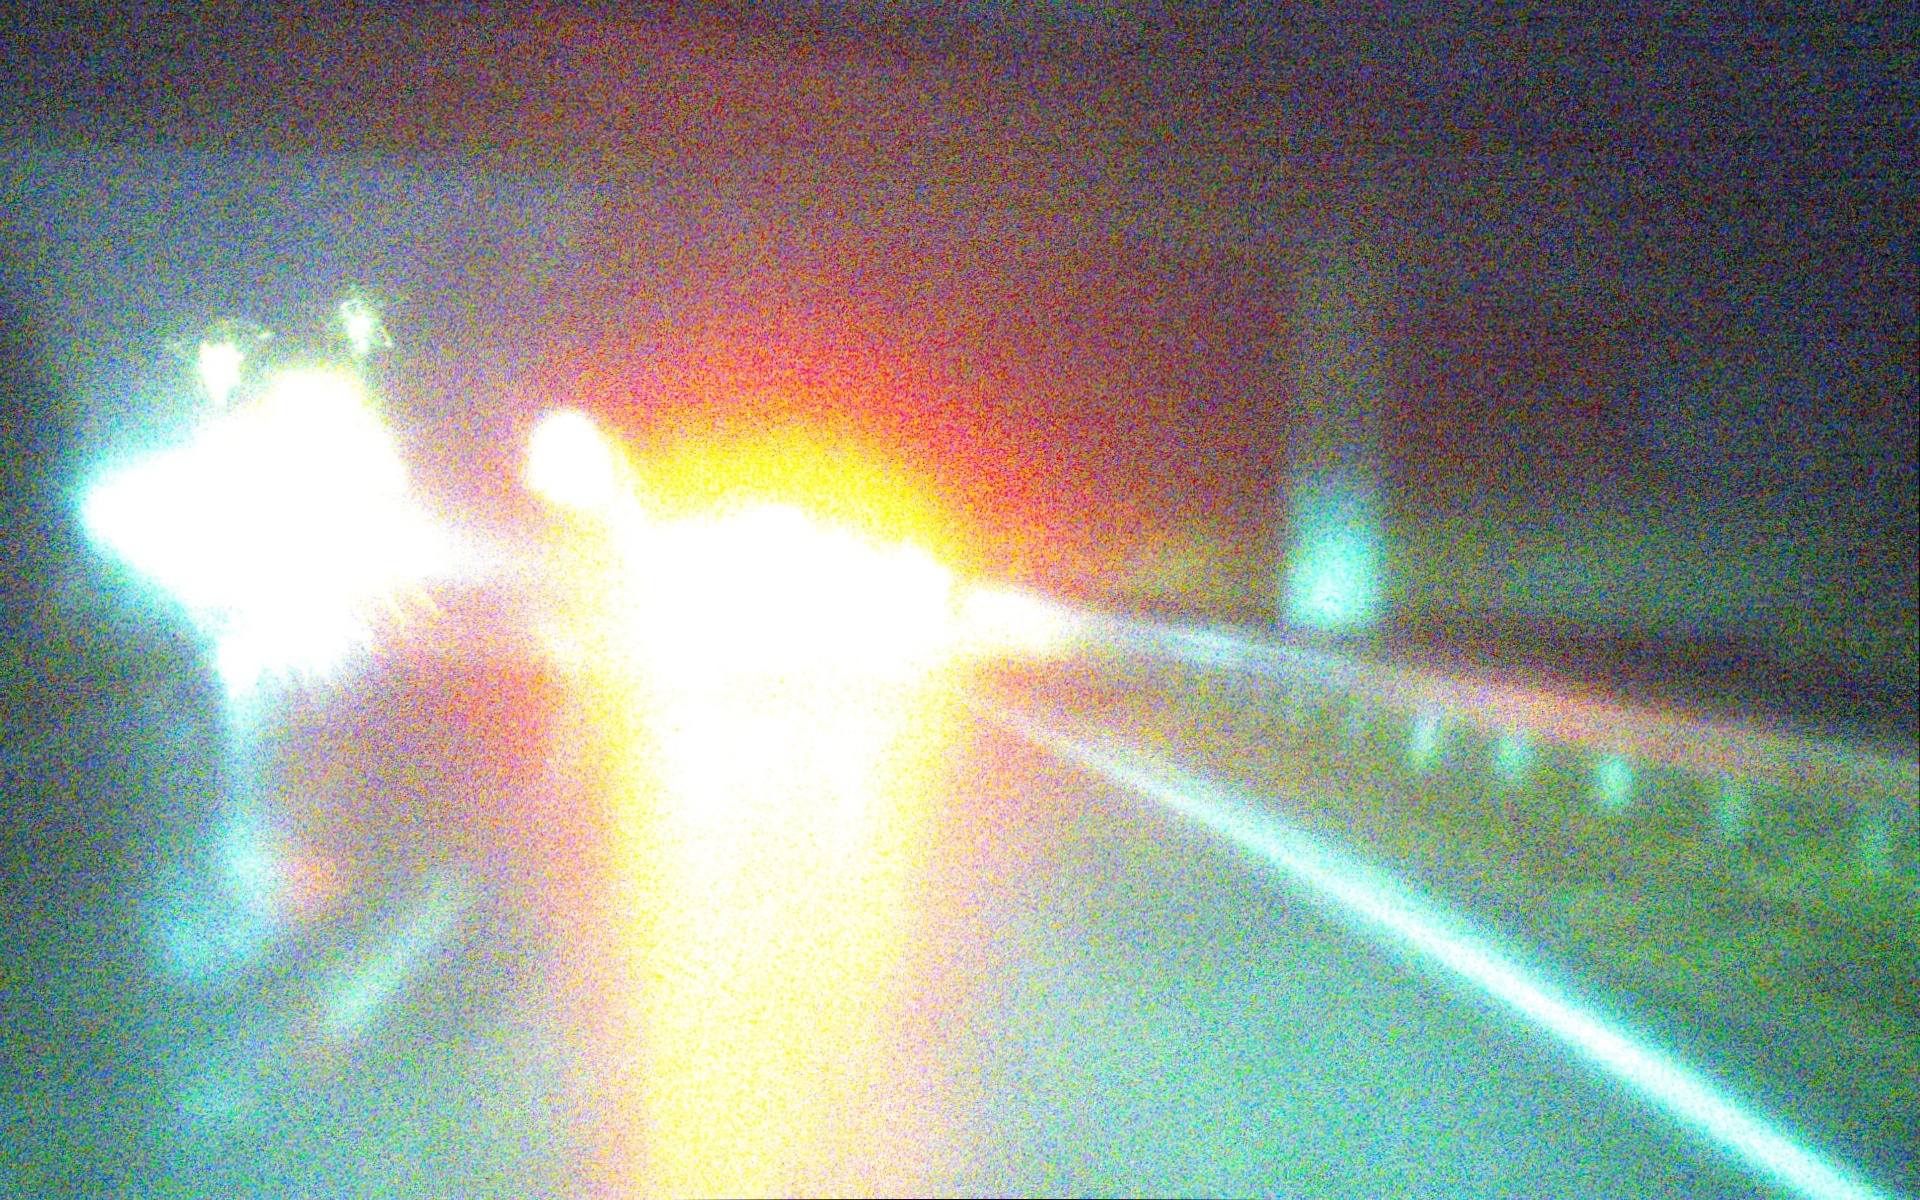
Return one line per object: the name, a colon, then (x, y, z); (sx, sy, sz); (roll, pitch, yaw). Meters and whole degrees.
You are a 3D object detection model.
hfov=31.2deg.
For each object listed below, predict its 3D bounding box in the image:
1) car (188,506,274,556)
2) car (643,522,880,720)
car: (-24.471, -2.339, 115.275); (1.930, 1.579, 4.986); (-2, 2, -22)
car: (-1.942, 0.130, 32.189); (1.993, 1.622, 4.986); (1, 2, -6)
